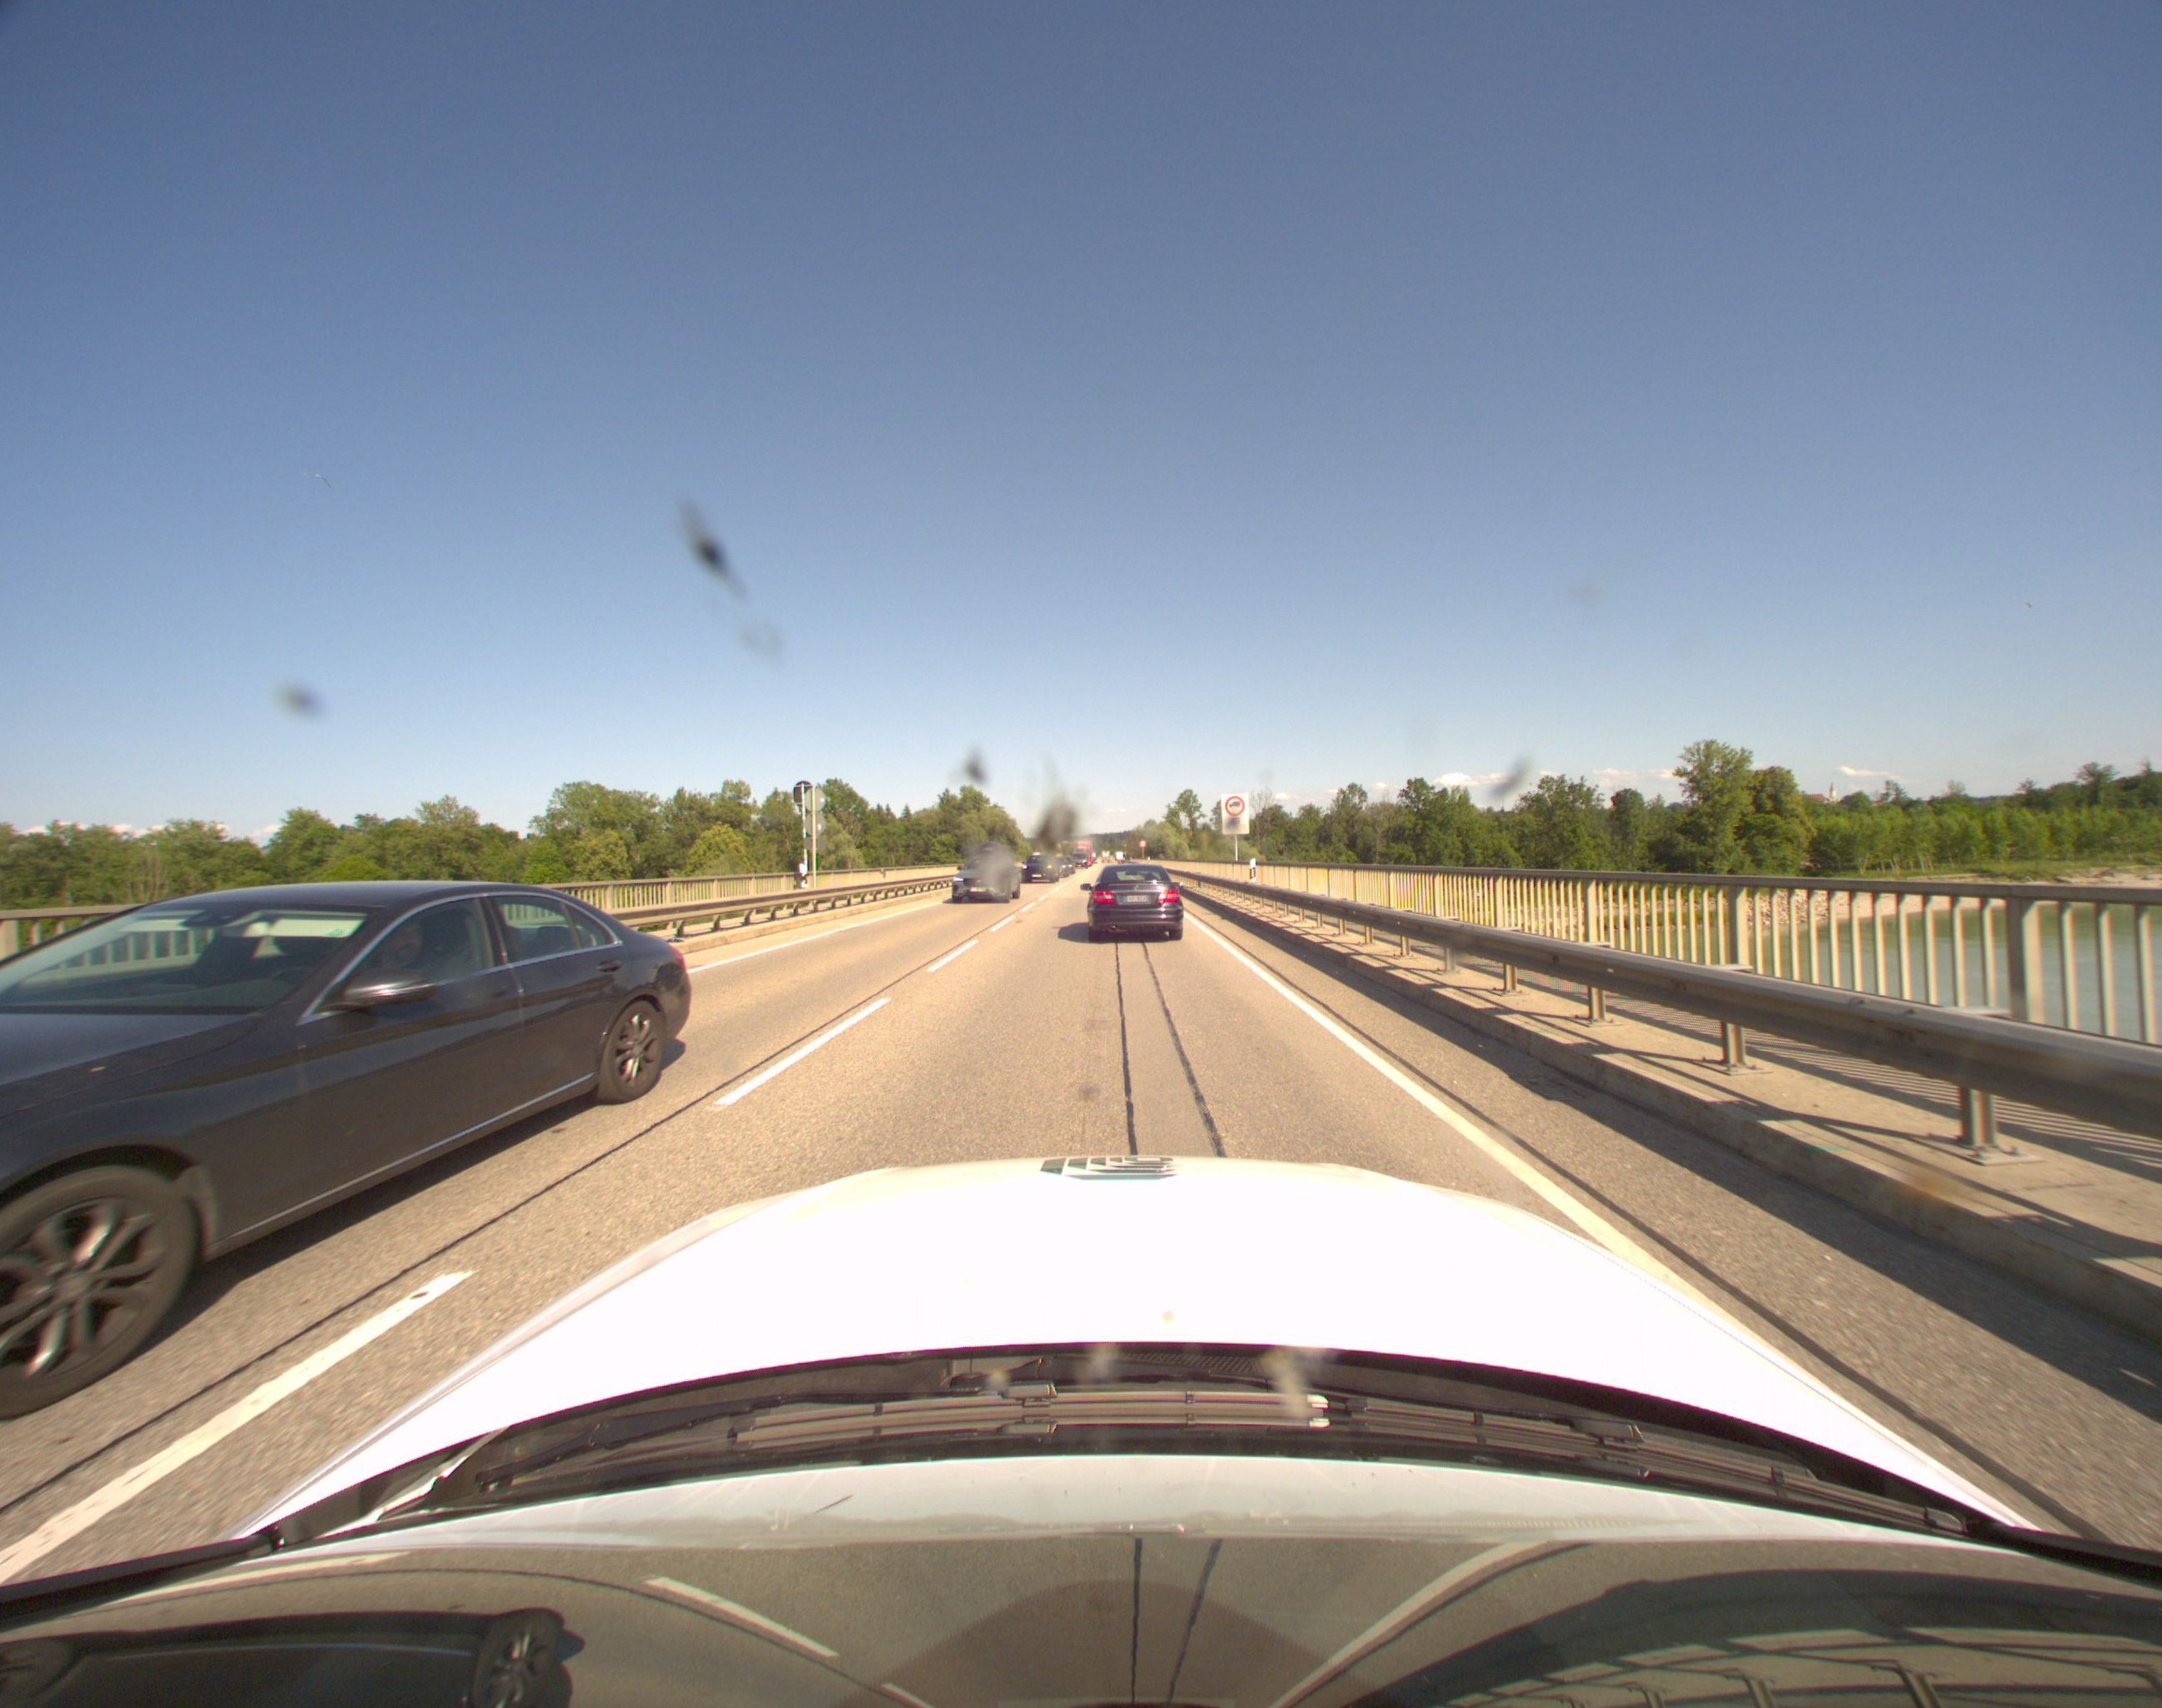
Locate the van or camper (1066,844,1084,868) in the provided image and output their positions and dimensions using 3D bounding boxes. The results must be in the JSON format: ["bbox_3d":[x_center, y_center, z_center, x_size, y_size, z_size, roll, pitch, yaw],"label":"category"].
[{"bbox_3d":[-0.757,0.285,108.655,2.307,3.051,6.818,-1,0,1],"label":"van or camper"}]

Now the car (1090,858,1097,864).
[{"bbox_3d":[3.535,1.844,225.832,1.835,1.642,4.578,-1,0,1],"label":"car"}]

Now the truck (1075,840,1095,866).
[{"bbox_3d":[0.674,-0.177,132.307,2.895,4.184,5.718,0,0,4],"label":"truck"}]

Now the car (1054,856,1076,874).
[{"bbox_3d":[-1.420,0.967,73.714,1.868,1.583,4.273,0,0,0],"label":"car"}]

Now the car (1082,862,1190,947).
[{"bbox_3d":[1.030,0.865,15.719,1.786,1.376,4.003,-1,0,3],"label":"car"}]

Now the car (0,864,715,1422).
[{"bbox_3d":[-3.707,0.801,3.925,1.759,1.447,4.458,-1,0,1],"label":"car"}]

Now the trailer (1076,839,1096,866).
[{"bbox_3d":[0.950,-0.204,140.462,2.896,4.302,14.310,0,0,2],"label":"trailer"}]

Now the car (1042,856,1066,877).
[{"bbox_3d":[-2.036,0.924,62.047,1.801,1.577,4.198,0,0,-2],"label":"car"}]

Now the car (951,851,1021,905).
[{"bbox_3d":[-3.248,0.786,28.655,1.848,1.722,4.566,-1,0,0],"label":"car"}]

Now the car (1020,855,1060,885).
[{"bbox_3d":[-2.400,0.938,48.764,2.046,1.652,4.721,1,0,1],"label":"car"}]
